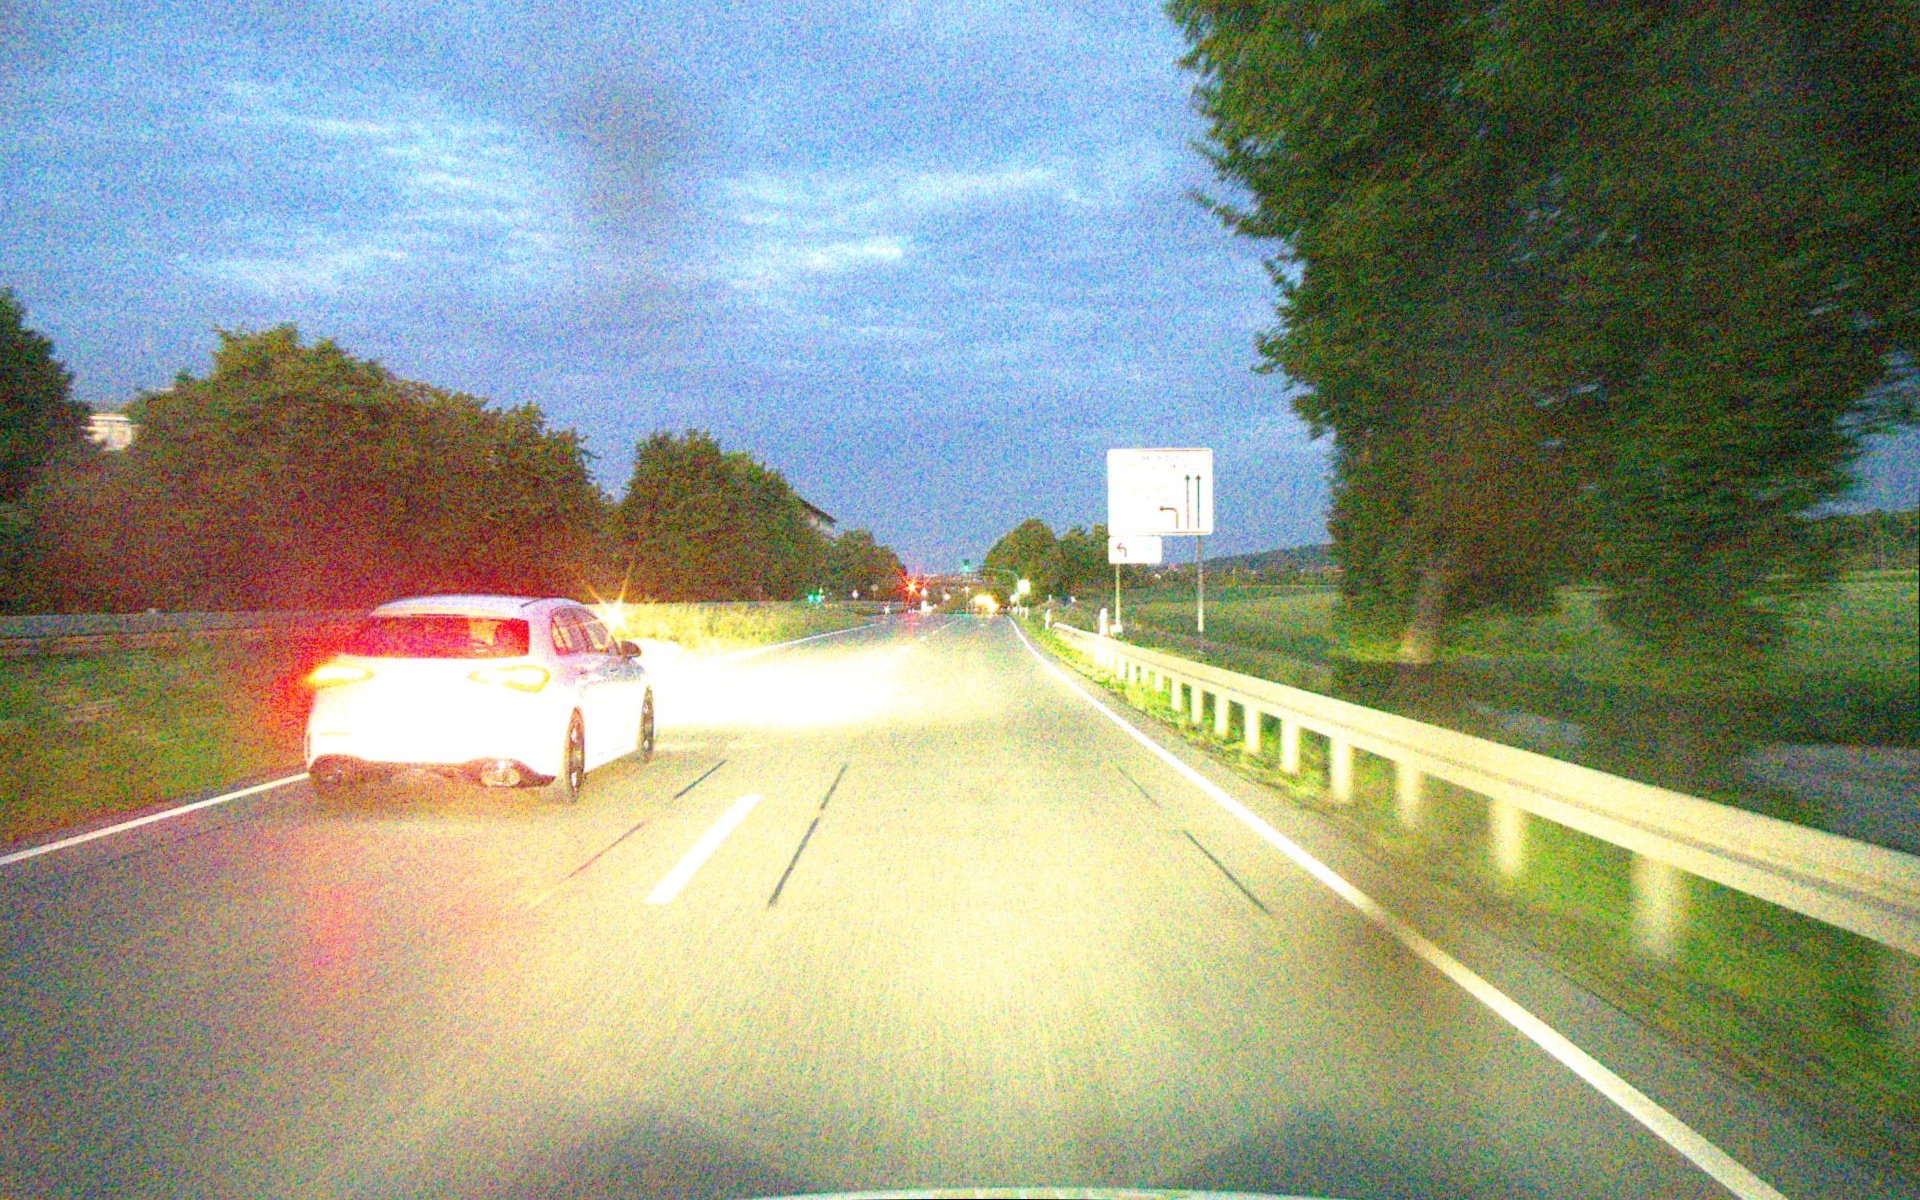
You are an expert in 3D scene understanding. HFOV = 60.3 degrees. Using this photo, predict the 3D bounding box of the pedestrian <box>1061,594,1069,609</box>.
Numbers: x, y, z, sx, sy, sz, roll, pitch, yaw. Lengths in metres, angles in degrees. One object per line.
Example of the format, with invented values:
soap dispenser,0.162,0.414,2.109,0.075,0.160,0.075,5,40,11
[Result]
pedestrian,12.649,0.156,199.399,0.902,1.824,1.106,1,0,1

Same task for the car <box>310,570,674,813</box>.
car,-3.370,0.578,12.808,1.609,1.516,4.578,1,0,-2

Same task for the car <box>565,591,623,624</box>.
car,-15.960,0.320,72.303,1.596,1.346,3.940,1,0,1
